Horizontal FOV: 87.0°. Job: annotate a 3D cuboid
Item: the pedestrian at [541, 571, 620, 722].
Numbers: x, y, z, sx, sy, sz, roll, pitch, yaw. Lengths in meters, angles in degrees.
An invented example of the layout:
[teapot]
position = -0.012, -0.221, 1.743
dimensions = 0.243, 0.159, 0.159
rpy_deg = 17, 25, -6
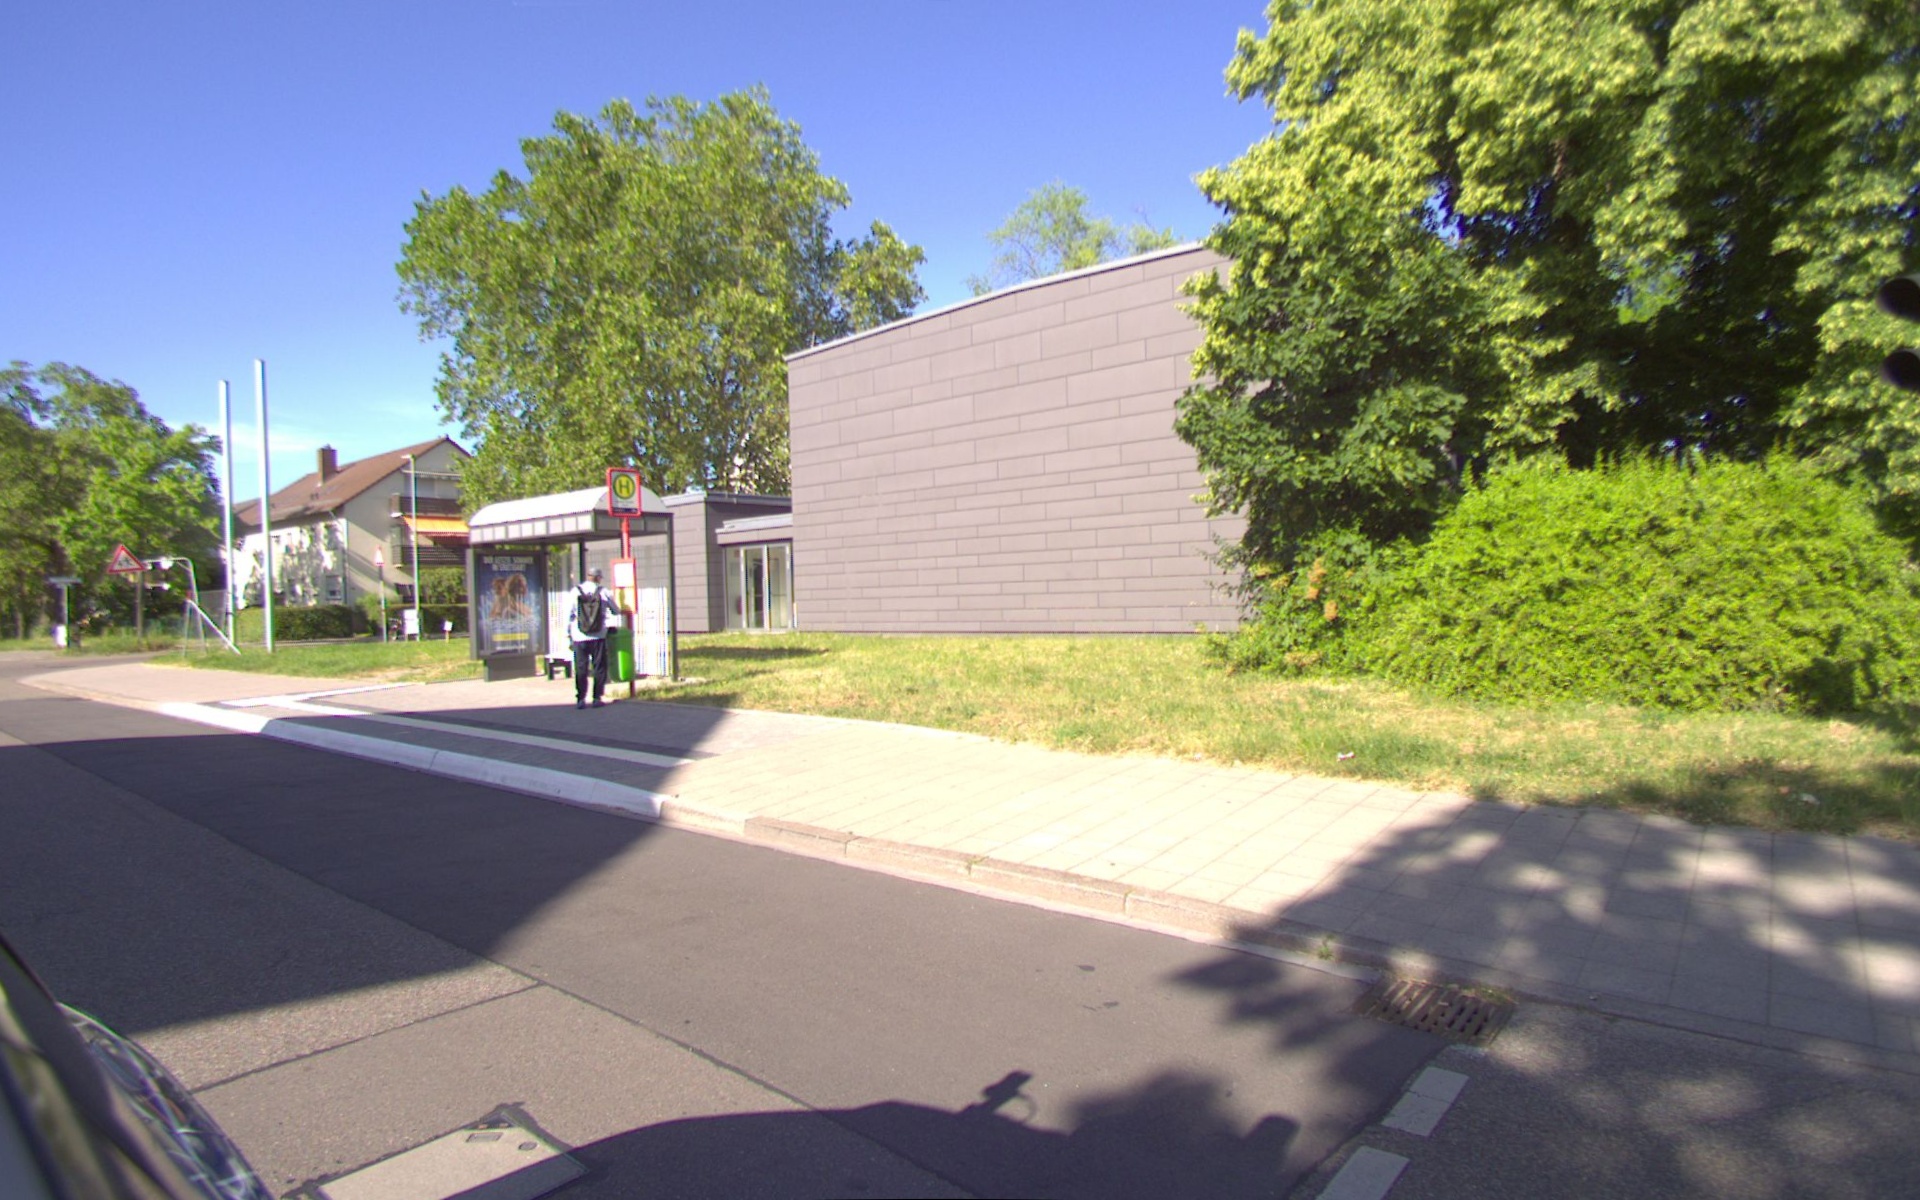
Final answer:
[pedestrian]
position = -4.798, 0.563, 12.852
dimensions = 0.706, 1.816, 0.772
rpy_deg = -4, 1, -10

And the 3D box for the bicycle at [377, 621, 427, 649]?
[bicycle]
position = -21.421, 1.345, 38.860
dimensions = 1.574, 0.992, 0.501
rpy_deg = -3, -1, -35
